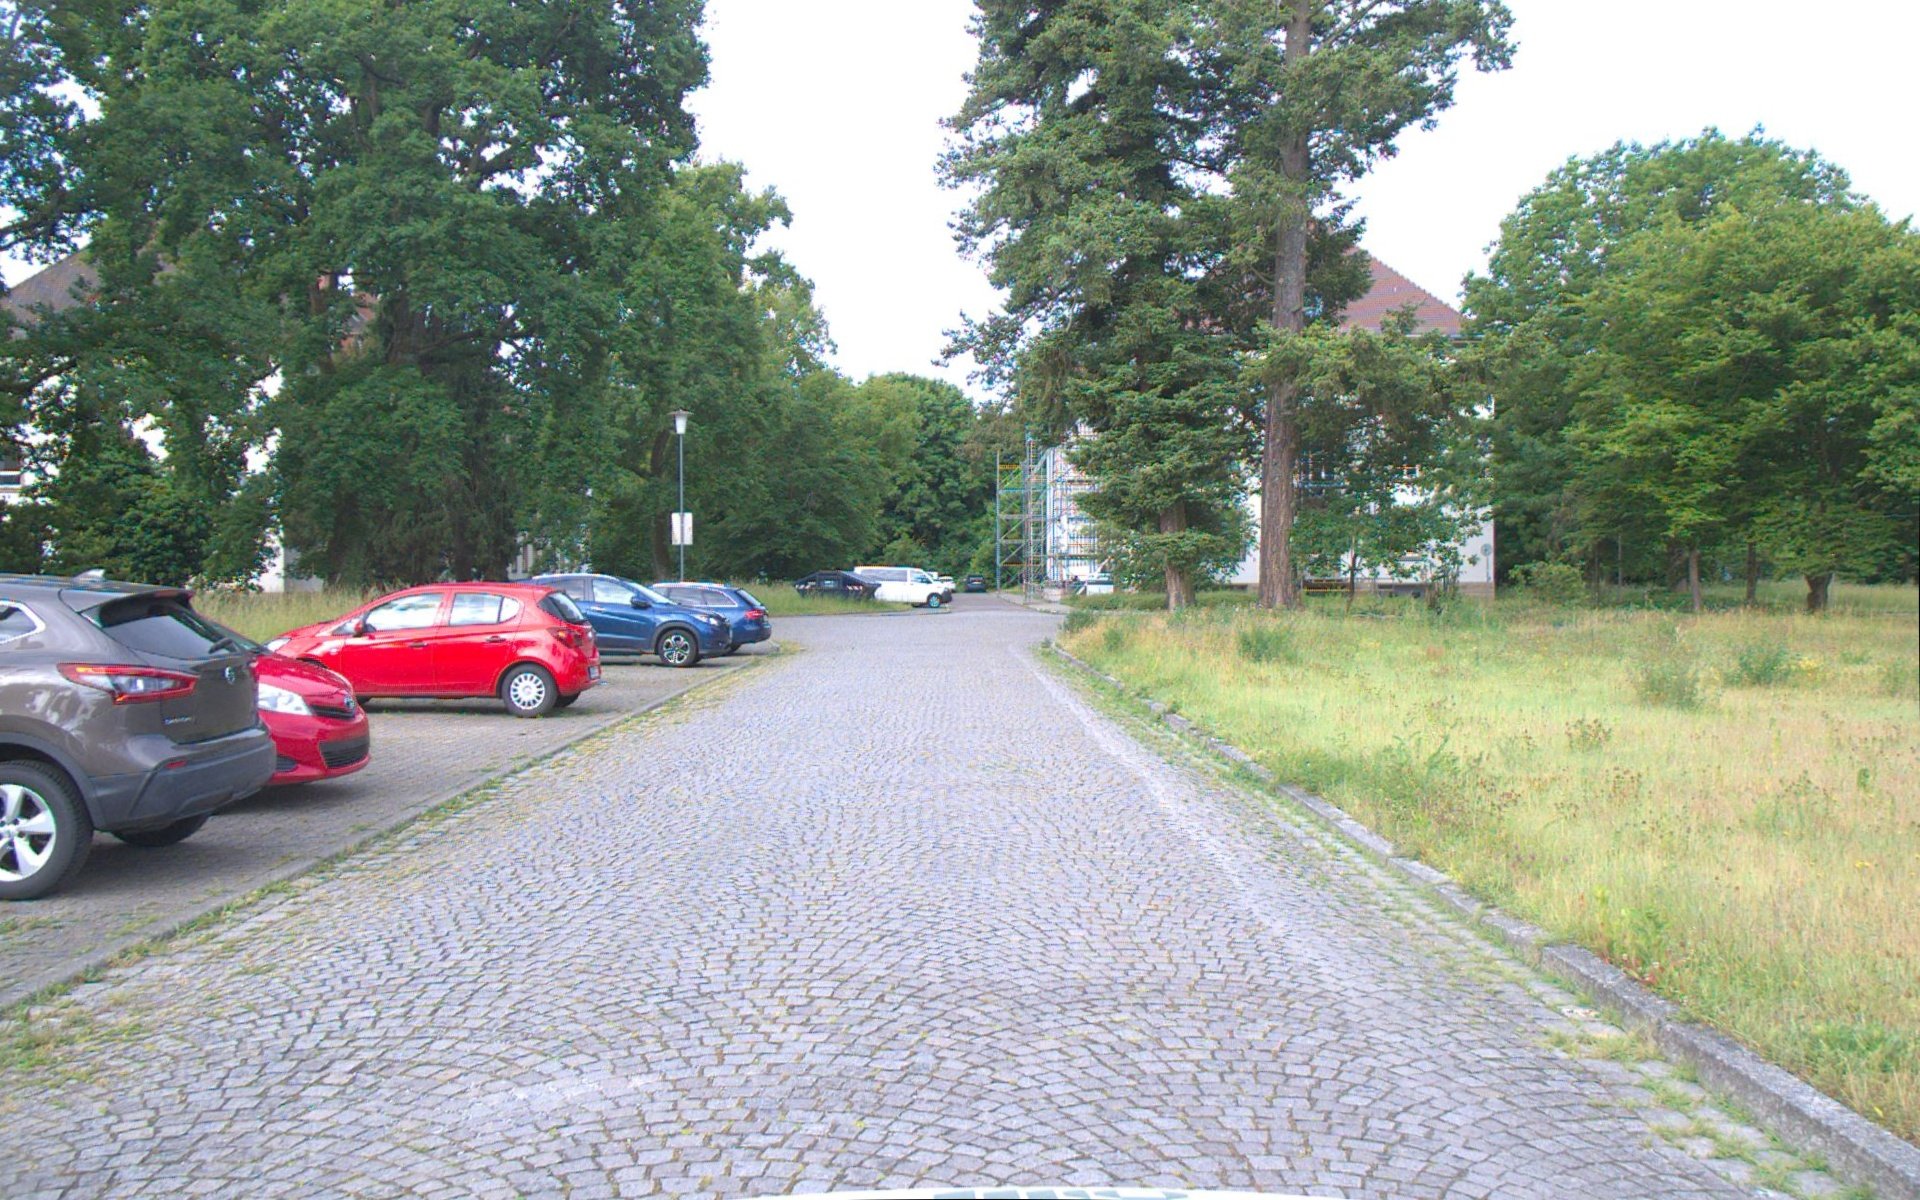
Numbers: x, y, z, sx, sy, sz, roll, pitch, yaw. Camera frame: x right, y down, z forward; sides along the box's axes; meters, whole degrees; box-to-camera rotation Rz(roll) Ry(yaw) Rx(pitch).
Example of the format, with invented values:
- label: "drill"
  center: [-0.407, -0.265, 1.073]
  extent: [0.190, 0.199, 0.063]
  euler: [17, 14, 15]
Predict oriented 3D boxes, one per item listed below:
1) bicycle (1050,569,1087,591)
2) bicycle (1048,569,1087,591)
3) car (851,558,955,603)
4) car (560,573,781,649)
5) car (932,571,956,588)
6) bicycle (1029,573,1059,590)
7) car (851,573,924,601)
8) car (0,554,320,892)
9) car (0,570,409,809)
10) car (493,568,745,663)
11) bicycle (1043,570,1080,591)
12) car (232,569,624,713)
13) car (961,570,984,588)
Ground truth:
- label: "bicycle"
  center: [6.446, -1.187, 98.253]
  extent: [2.194, 1.276, 0.778]
  euler: [0, 0, 1]
- label: "bicycle"
  center: [6.265, -1.169, 96.338]
  extent: [2.194, 1.276, 0.778]
  euler: [0, 0, 1]
- label: "car"
  center: [-2.878, -0.967, 83.214]
  extent: [5.130, 2.206, 1.999]
  euler: [0, 1, -3]
- label: "car"
  center: [-5.953, 0.208, 34.344]
  extent: [4.214, 1.486, 1.975]
  euler: [1, 1, 0]
- label: "car"
  center: [-1.469, -1.862, 149.235]
  extent: [2.076, 1.548, 3.999]
  euler: [0, 1, -2]
- label: "bicycle"
  center: [6.217, -1.366, 122.149]
  extent: [2.194, 1.276, 0.634]
  euler: [0, 0, 1]
- label: "car"
  center: [-3.755, -0.683, 85.795]
  extent: [3.714, 1.419, 1.999]
  euler: [0, 1, -4]
- label: "car"
  center: [-5.913, 0.600, 9.004]
  extent: [4.083, 1.650, 1.985]
  euler: [-1, 1, -4]
- label: "car"
  center: [-6.280, 0.579, 11.738]
  extent: [4.082, 1.536, 1.907]
  euler: [-1, 1, -2]
- label: "car"
  center: [-6.031, 0.254, 29.618]
  extent: [4.143, 1.604, 1.886]
  euler: [1, 1, -2]
- label: "bicycle"
  center: [6.154, -1.200, 100.593]
  extent: [2.194, 1.276, 0.778]
  euler: [0, 0, 1]
- label: "car"
  center: [-6.108, 0.431, 19.372]
  extent: [3.973, 1.551, 1.904]
  euler: [-1, 1, -3]
- label: "car"
  center: [1.150, -1.905, 149.578]
  extent: [1.912, 1.548, 3.998]
  euler: [0, 1, -2]
